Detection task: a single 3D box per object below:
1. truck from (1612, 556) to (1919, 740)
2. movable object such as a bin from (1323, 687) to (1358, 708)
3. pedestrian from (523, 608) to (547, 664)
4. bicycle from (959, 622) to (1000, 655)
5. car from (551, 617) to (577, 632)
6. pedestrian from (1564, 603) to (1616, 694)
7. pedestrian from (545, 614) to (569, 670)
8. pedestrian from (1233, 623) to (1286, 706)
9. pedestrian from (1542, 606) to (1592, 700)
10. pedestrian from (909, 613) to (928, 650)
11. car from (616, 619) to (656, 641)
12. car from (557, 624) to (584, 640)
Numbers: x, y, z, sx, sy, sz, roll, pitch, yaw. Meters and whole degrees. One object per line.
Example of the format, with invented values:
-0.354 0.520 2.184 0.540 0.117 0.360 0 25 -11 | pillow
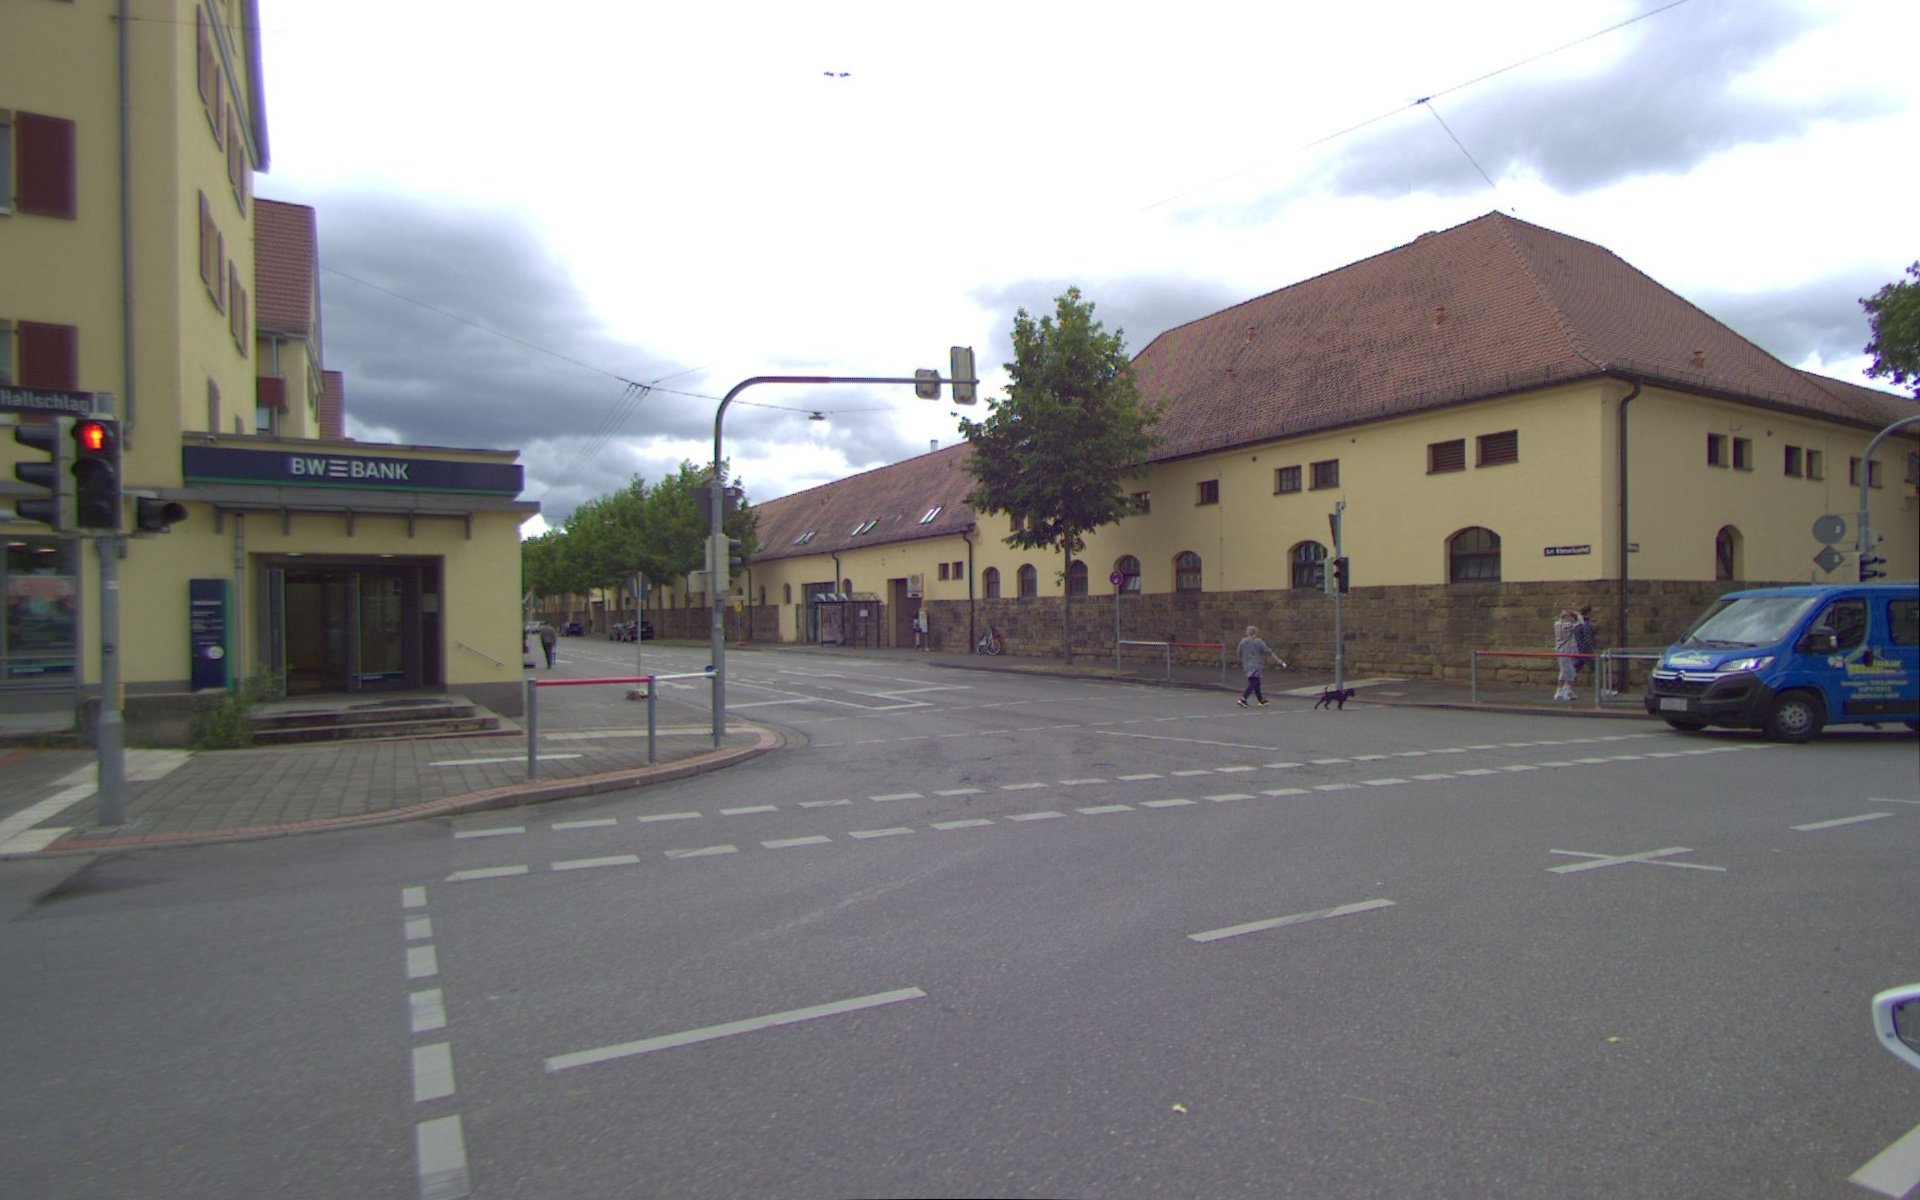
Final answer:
13.426 0.700 14.813 6.288 2.459 2.302 0 -2 -4 | truck
7.319 1.874 19.322 0.569 0.352 0.307 1 -1 3 | movable object such as a bin
-15.711 1.317 37.129 0.677 2.040 0.681 1 -1 -33 | pedestrian
0.775 1.589 41.493 0.509 1.283 2.303 1 -1 -32 | bicycle
-43.567 2.673 110.485 1.829 1.559 3.962 1 -1 -34 | car
12.687 0.968 20.224 0.832 1.800 0.561 1 -1 -31 | pedestrian
-15.080 1.561 37.567 0.677 2.040 0.680 1 -1 -36 | pedestrian
5.896 1.254 19.787 0.831 1.587 0.562 1 -1 -25 | pedestrian
11.858 1.018 19.628 0.709 1.800 0.561 1 -1 -31 | pedestrian
-2.047 1.541 49.481 0.640 1.773 0.773 1 -1 -24 | pedestrian
-24.732 2.289 76.567 1.829 1.559 3.962 1 -1 -34 | car
-40.482 3.290 104.297 1.828 1.559 3.963 1 -1 -33 | car
